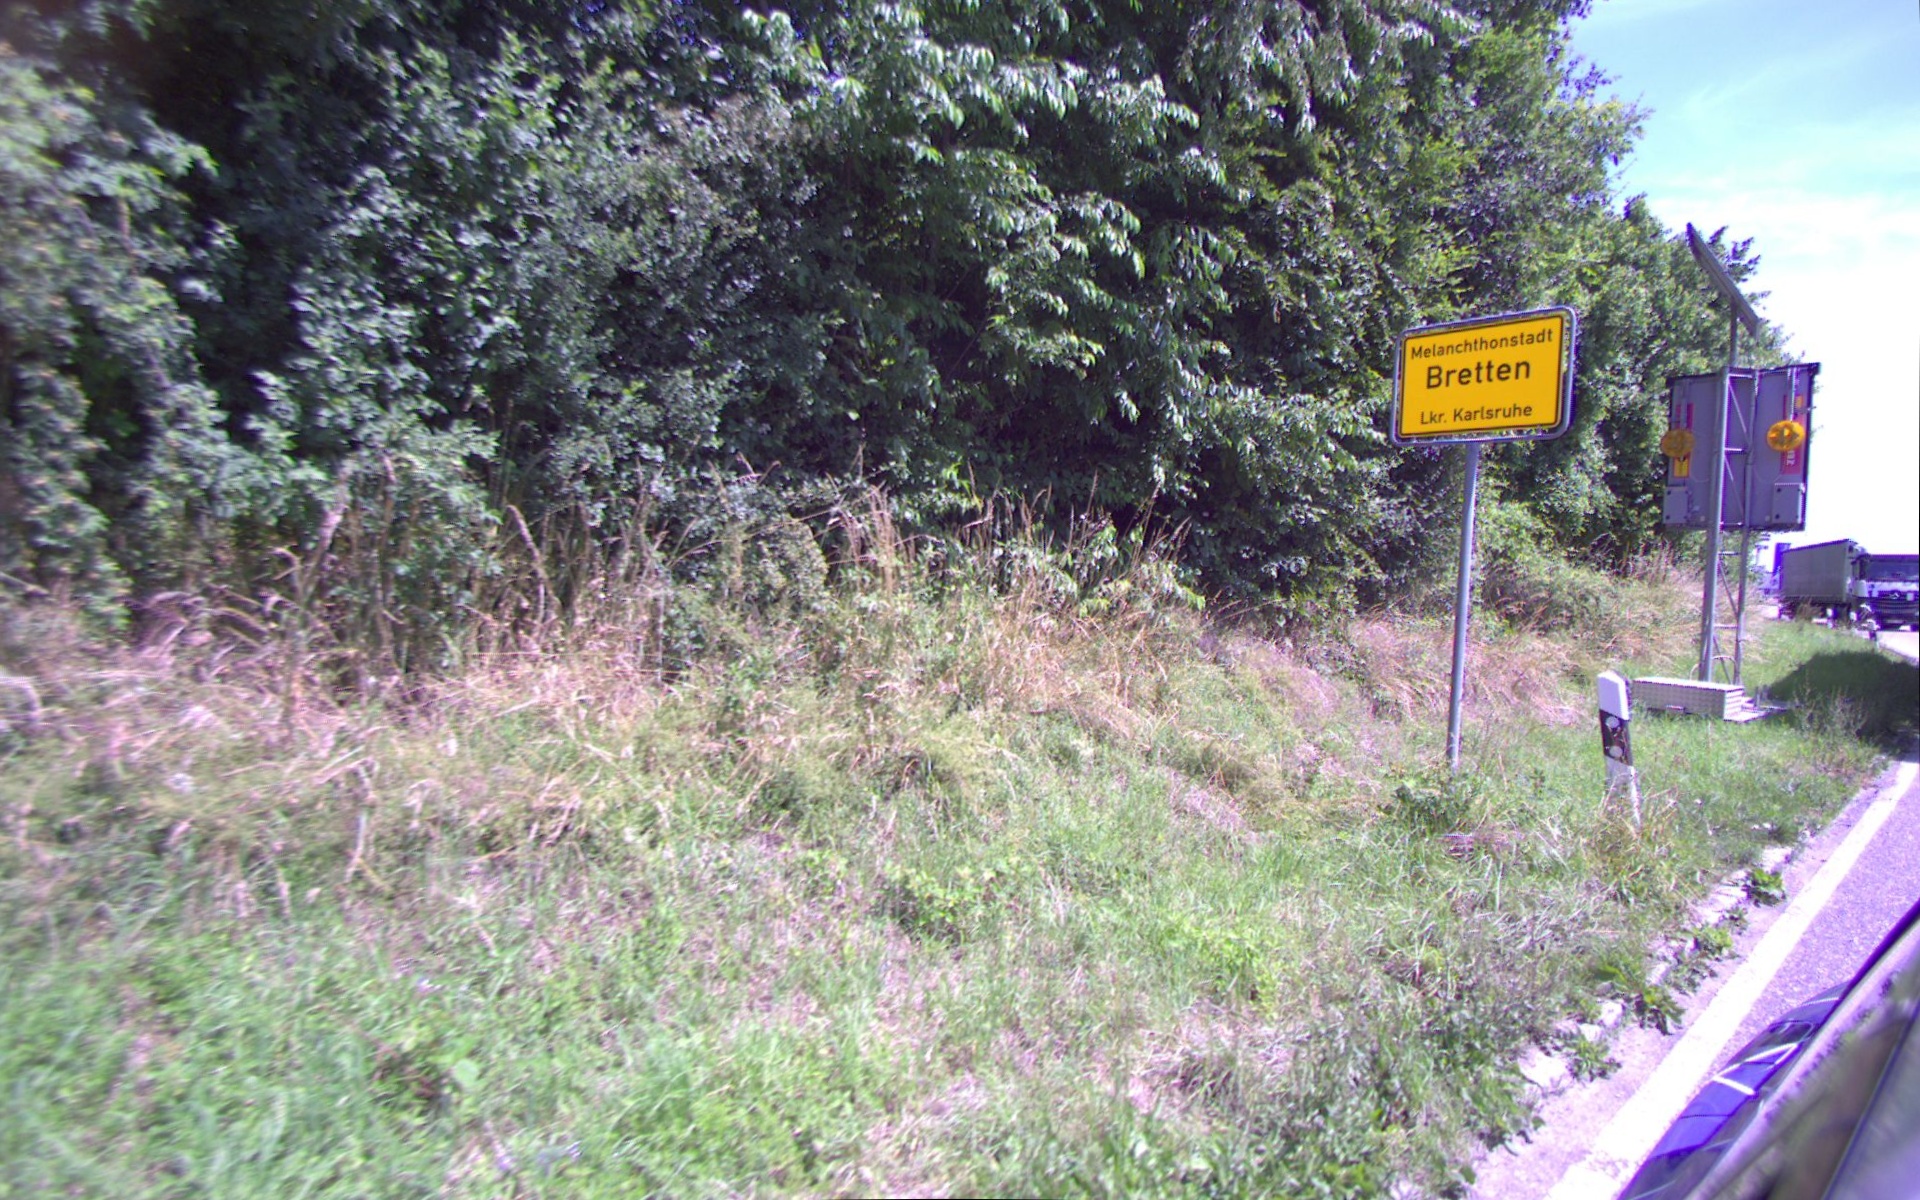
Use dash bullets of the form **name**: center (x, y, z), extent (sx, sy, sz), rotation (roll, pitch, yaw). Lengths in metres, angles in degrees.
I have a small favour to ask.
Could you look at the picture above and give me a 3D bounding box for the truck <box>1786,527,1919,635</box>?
- **truck**: center (44.005, -1.037, 49.501), extent (2.957, 4.527, 16.283), rotation (0, 2, 30)
